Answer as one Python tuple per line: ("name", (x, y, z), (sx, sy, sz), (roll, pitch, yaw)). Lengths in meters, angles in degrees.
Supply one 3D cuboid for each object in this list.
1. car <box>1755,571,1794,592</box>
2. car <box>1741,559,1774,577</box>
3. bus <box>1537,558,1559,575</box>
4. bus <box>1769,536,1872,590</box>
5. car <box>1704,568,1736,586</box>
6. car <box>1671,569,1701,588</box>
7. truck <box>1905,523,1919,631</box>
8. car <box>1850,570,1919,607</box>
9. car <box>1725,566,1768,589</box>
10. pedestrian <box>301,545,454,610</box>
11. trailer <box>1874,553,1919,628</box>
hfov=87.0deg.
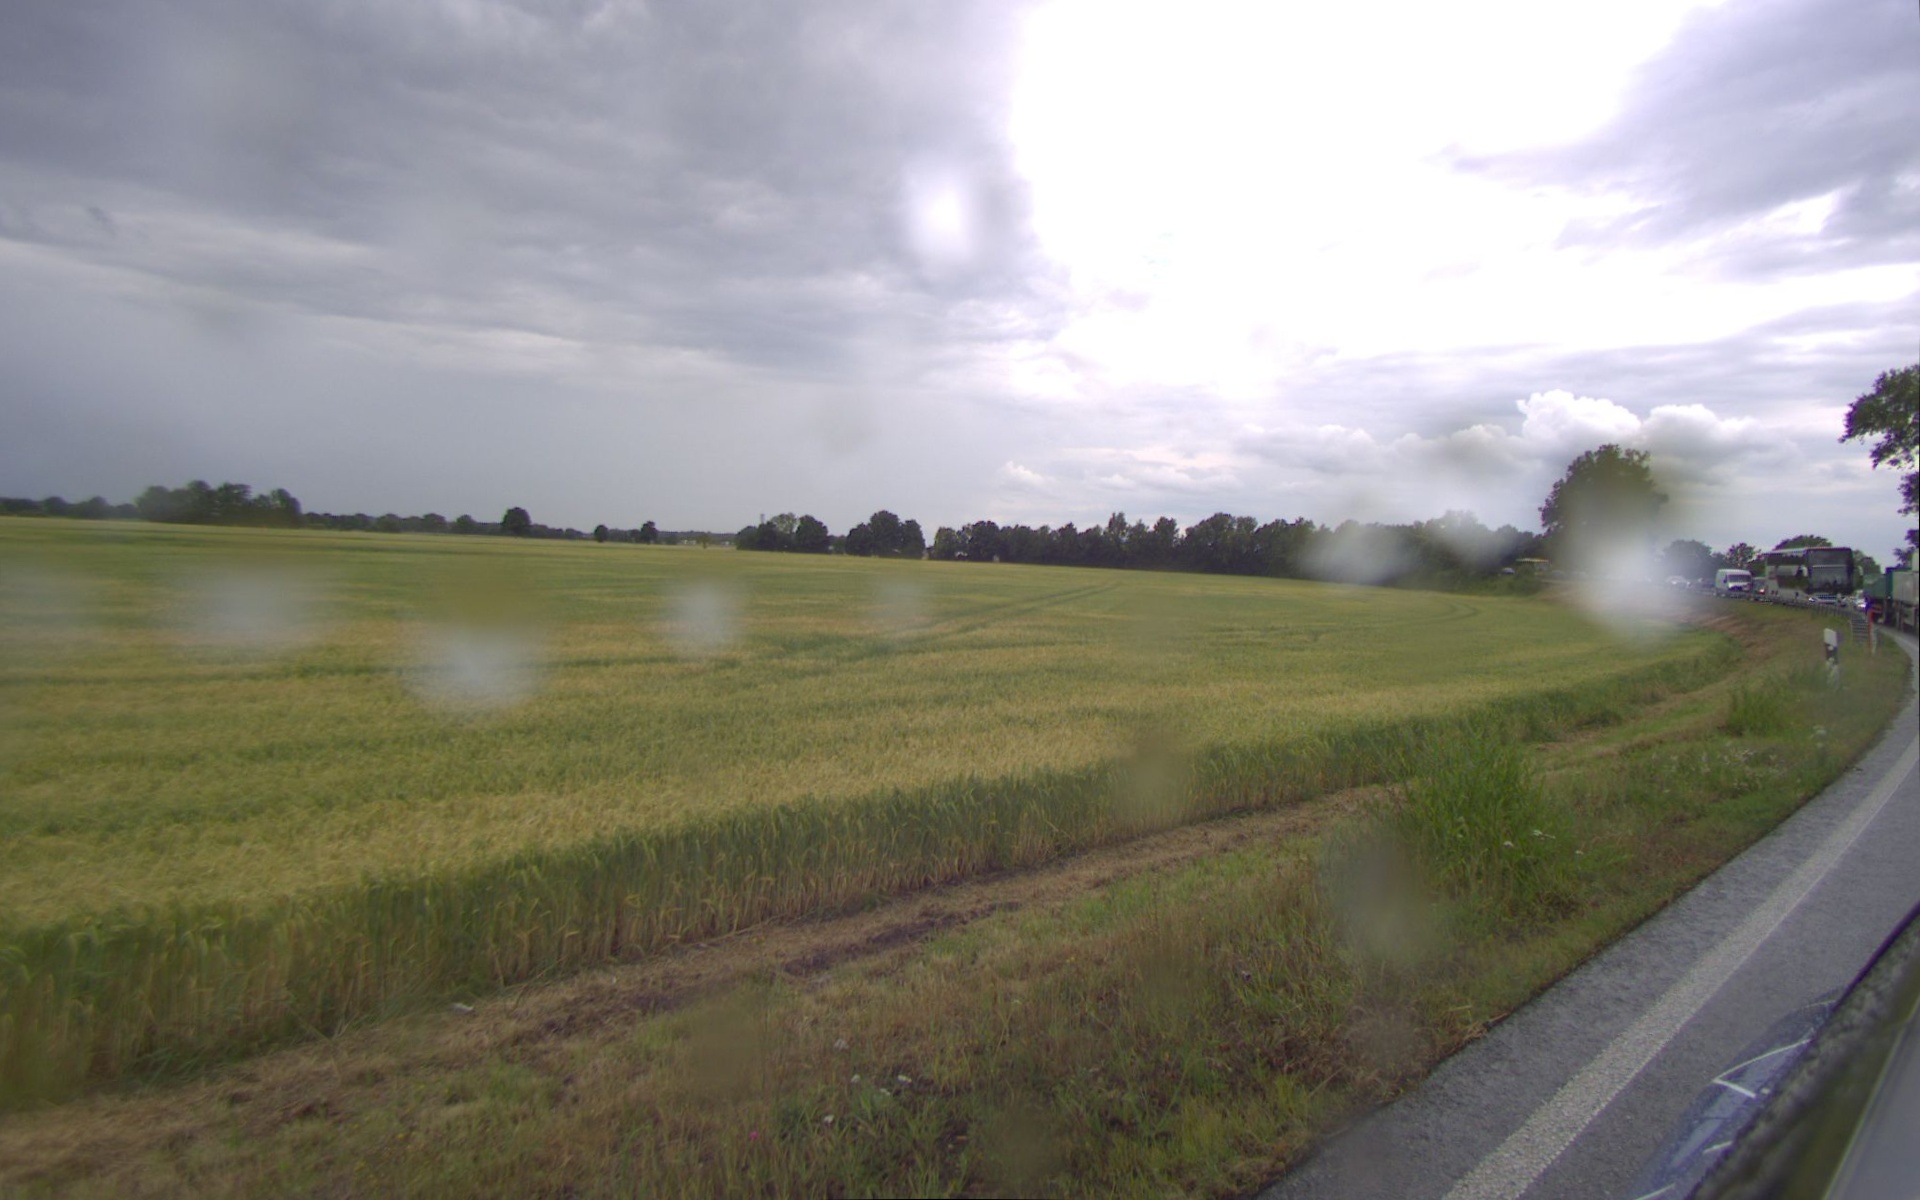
("car", (66.513, -1.511, 82.692), (1.799, 1.597, 3.960), (0, 1, 29))
("car", (97.413, -3.899, 123.641), (1.974, 2.039, 4.095), (0, 1, 19))
("bus", (110.400, -6.276, 190.131), (1.972, 2.951, 6.975), (-1, 1, 16))
("bus", (59.402, -2.593, 70.307), (2.941, 3.353, 14.683), (0, 2, 30))
("car", (88.839, -2.705, 118.315), (1.866, 2.039, 4.266), (0, 1, 22))
("car", (83.605, -2.481, 116.585), (1.979, 2.039, 4.196), (0, 1, 25))
("truck", (34.378, -0.802, 34.270), (2.970, 3.655, 5.997), (0, 1, 39))
("car", (49.280, -0.658, 53.954), (2.029, 1.865, 5.273), (0, 1, 34))
("car", (72.139, -2.102, 92.866), (1.979, 2.038, 5.290), (0, 1, 25))
("pedestrian", (-19.355, -0.765, 33.741), (1.989, 2.039, 3.947), (0, 1, 37))
("trailer", (39.642, -0.545, 40.908), (2.970, 2.665, 15.467), (0, 2, 38))
